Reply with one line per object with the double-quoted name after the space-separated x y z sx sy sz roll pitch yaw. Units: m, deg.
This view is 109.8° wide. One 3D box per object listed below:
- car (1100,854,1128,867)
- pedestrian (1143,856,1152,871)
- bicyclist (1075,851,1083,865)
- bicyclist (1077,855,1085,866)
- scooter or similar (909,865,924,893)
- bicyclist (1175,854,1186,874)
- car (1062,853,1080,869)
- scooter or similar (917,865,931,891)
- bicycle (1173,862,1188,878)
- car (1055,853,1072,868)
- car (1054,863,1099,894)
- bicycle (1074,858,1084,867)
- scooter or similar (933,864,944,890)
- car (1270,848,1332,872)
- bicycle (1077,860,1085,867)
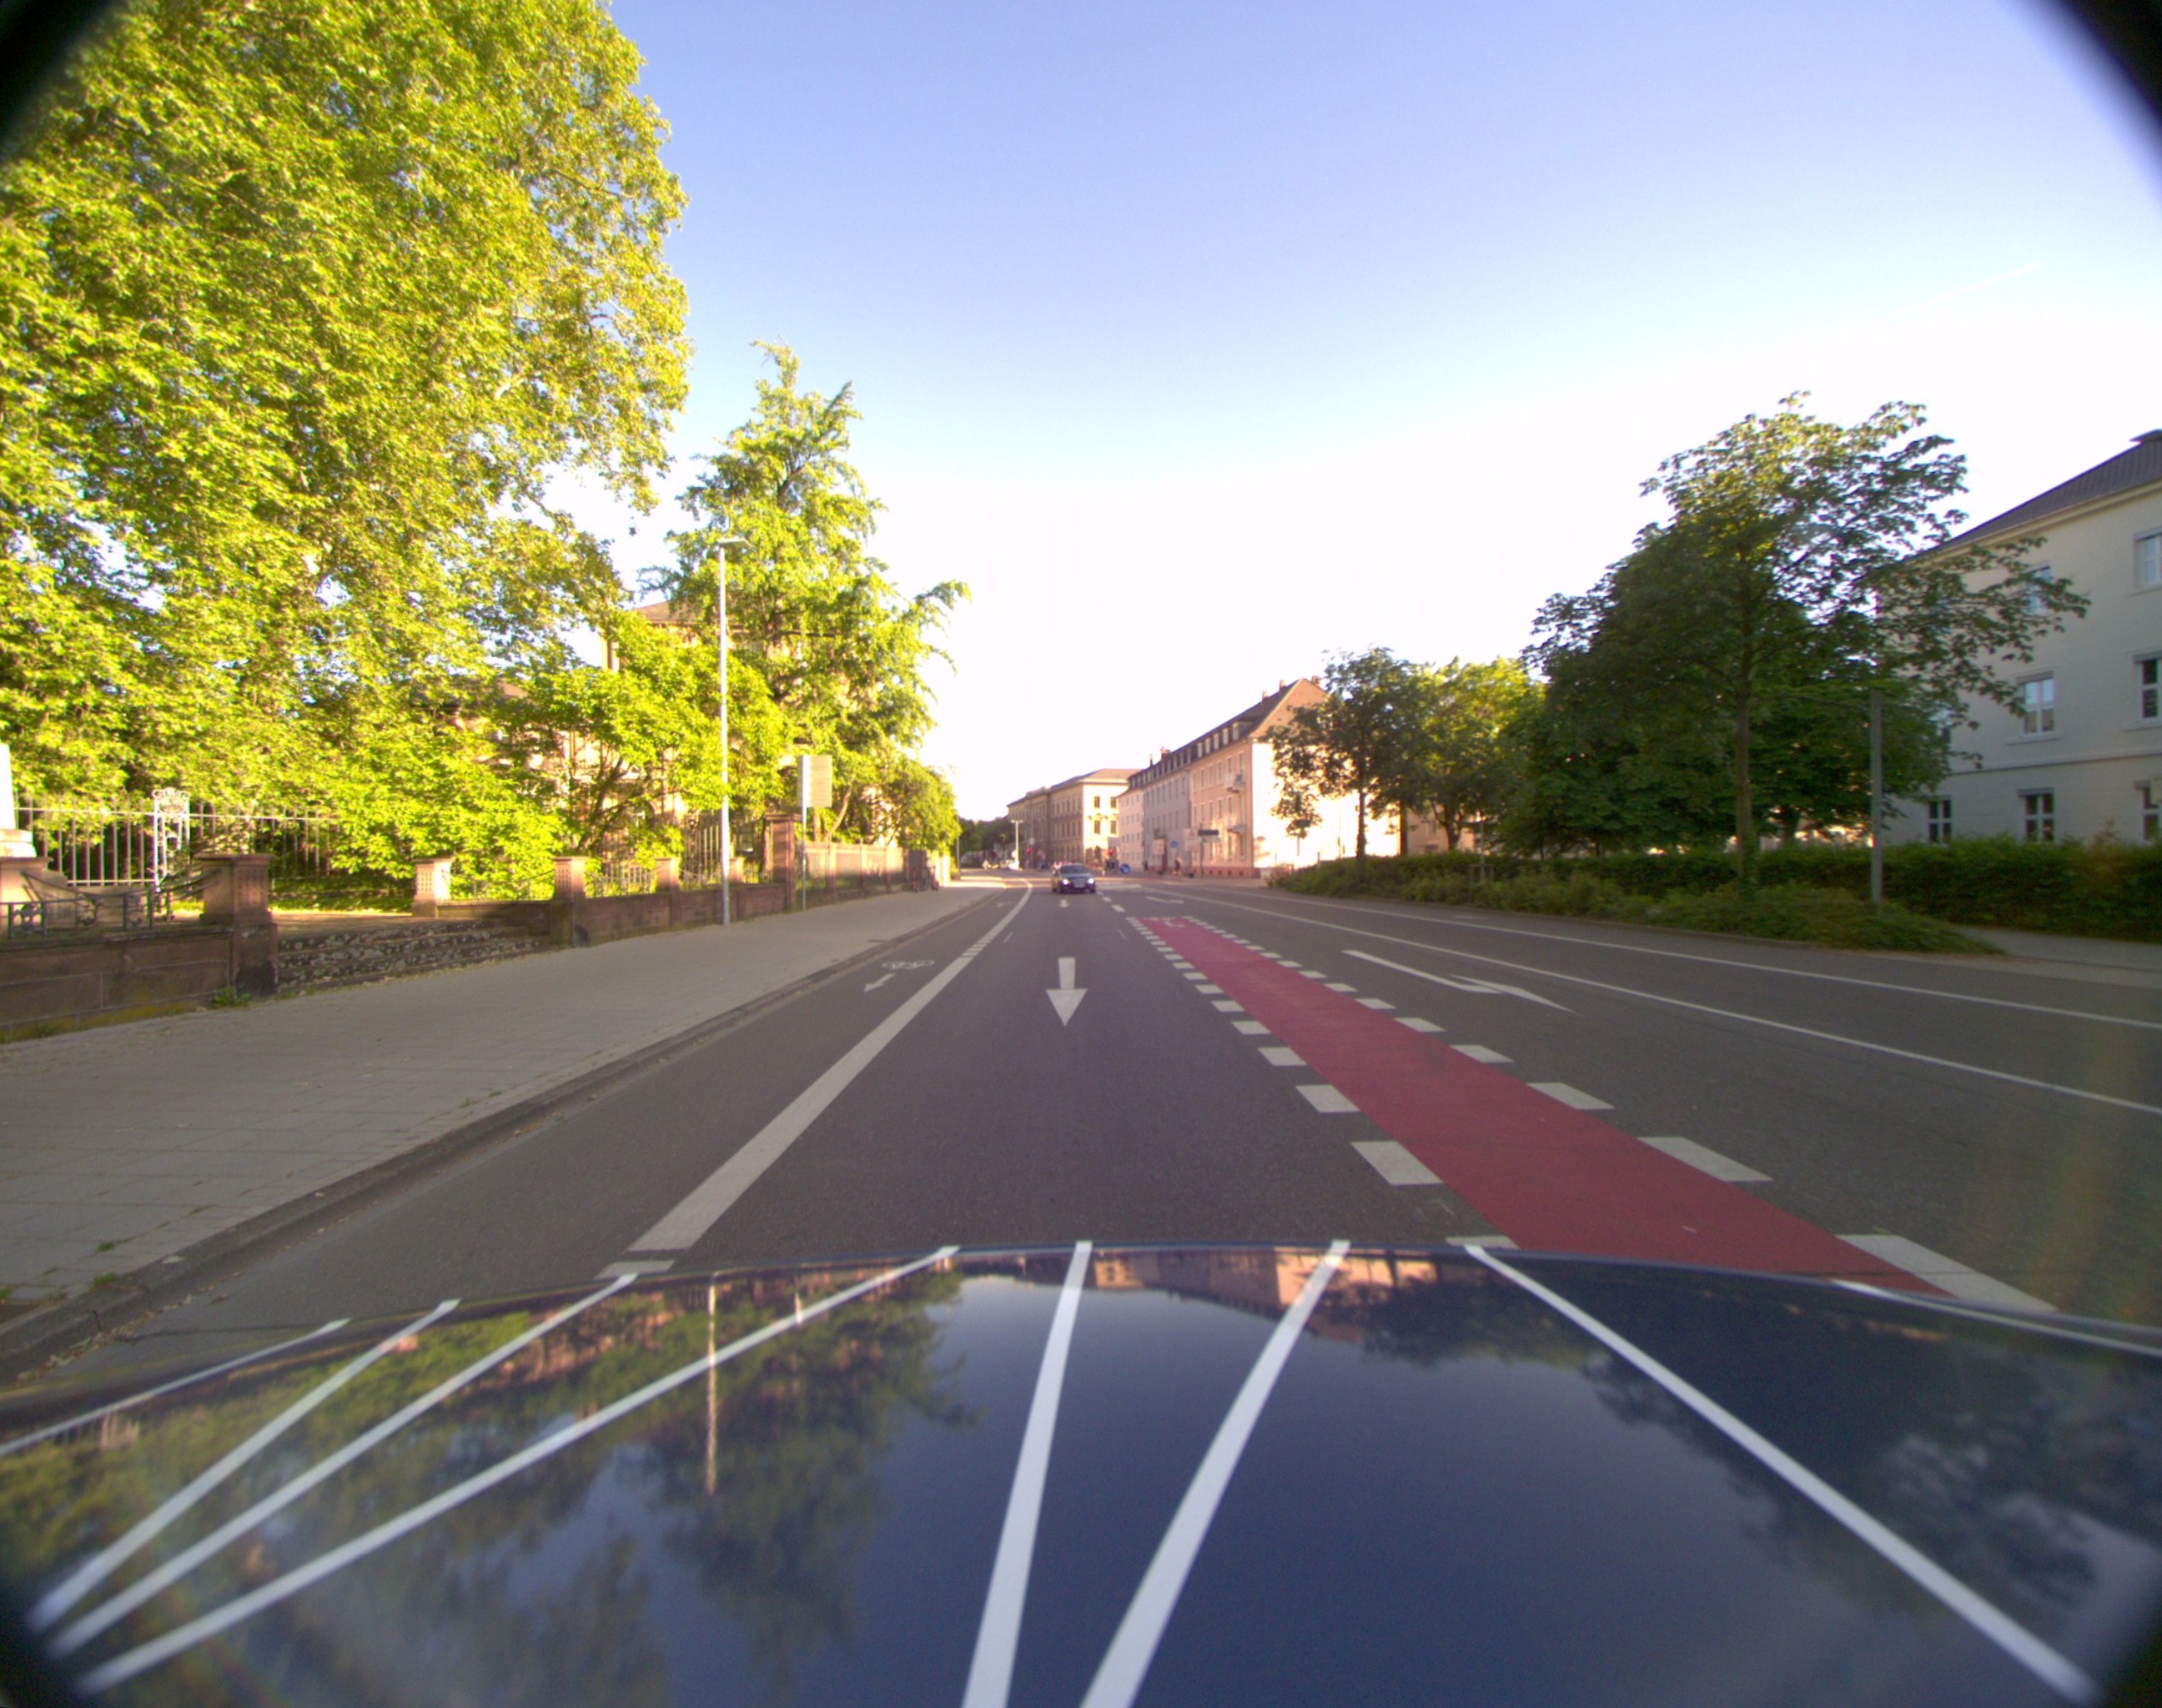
5.517 1.076 127.899 4.513 2.093 2.000 0 0 -1 "car"
8.432 1.183 96.021 0.949 1.894 1.062 -2 1 -7 "pedestrian"
-0.316 0.555 109.251 0.956 2.002 1.307 0 0 -9 "bicyclist"
0.033 0.889 104.145 1.026 1.481 0.870 0 0 -9 "bicyclist"
-7.559 1.132 34.839 0.577 1.246 1.486 0 0 -15 "scooter or similar"
7.754 0.782 59.353 0.691 1.553 0.838 1 0 -3 "bicyclist"
-1.258 0.843 96.662 1.999 2.002 3.998 0 0 -5 "car"
-7.573 1.147 36.692 0.576 1.177 1.487 0 0 -7 "scooter or similar"
7.750 1.238 59.296 0.697 1.152 2.245 1 0 -3 "bicycle"
-2.319 0.884 101.963 1.999 2.002 3.998 0 0 -5 "car"
-0.264 1.151 37.480 1.710 1.397 4.261 0 0 -8 "car"
-0.310 1.222 109.177 0.956 1.216 2.777 0 0 -9 "bicycle"
-7.099 1.137 37.774 0.517 1.233 1.521 0 0 -11 "scooter or similar"
16.647 0.458 57.559 4.000 1.652 1.998 -2 1 -9 "car"
0.037 1.349 104.096 0.663 0.907 2.861 0 0 -9 "bicycle"
